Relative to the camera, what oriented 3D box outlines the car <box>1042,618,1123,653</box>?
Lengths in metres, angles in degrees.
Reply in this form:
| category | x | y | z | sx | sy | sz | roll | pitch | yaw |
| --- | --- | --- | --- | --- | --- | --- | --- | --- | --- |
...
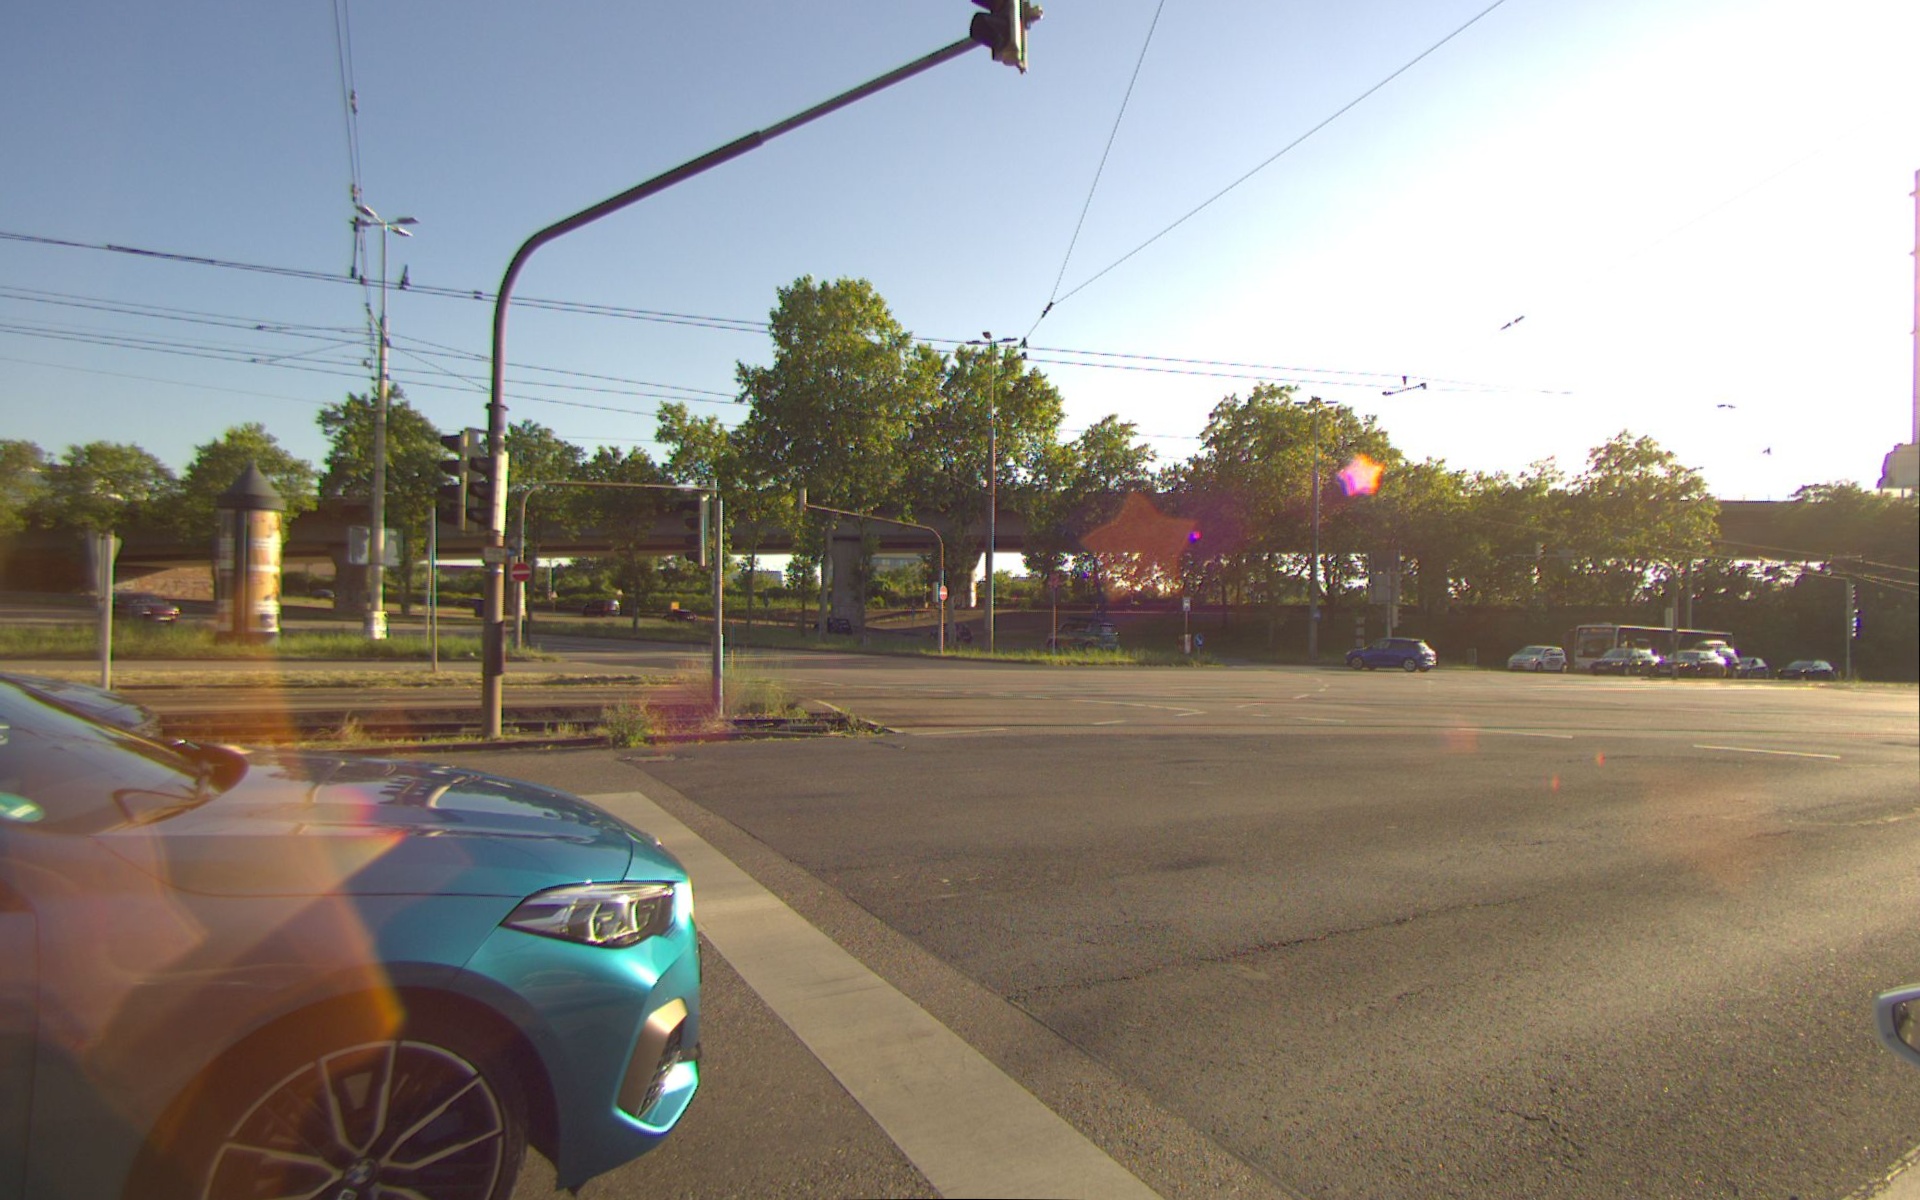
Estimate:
| category | x | y | z | sx | sy | sz | roll | pitch | yaw |
| --- | --- | --- | --- | --- | --- | --- | --- | --- | --- |
| car | 7.291 | 2.089 | 60.122 | 1.986 | 1.930 | 4.646 | 3 | -2 | -43 |

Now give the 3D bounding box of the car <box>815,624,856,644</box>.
| category | x | y | z | sx | sy | sz | roll | pitch | yaw |
| --- | --- | --- | --- | --- | --- | --- | --- | --- | --- |
| car | -9.979 | 2.702 | 80.370 | 1.680 | 1.441 | 3.696 | 2 | -1 | -36 |

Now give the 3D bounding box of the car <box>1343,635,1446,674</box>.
| category | x | y | z | sx | sy | sz | roll | pitch | yaw |
| --- | --- | --- | --- | --- | --- | --- | --- | --- | --- |
| car | 19.869 | 2.464 | 46.049 | 1.987 | 1.579 | 3.883 | 3 | -2 | -45 |

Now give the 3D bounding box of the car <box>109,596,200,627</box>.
| category | x | y | z | sx | sy | sz | roll | pitch | yaw |
| --- | --- | --- | --- | --- | --- | --- | --- | --- | --- |
| car | -42.002 | 0.592 | 52.365 | 3.922 | 1.505 | 2.000 | 1 | -1 | 22 |

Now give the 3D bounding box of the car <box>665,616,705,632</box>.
| category | x | y | z | sx | sy | sz | roll | pitch | yaw |
| --- | --- | --- | --- | --- | --- | --- | --- | --- | --- |
| car | -27.886 | 2.454 | 101.811 | 1.987 | 1.473 | 4.475 | 3 | -1 | -44 |

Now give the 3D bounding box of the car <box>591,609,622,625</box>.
| category | x | y | z | sx | sy | sz | roll | pitch | yaw |
| --- | --- | --- | --- | --- | --- | --- | --- | --- | --- |
| car | -40.859 | 1.957 | 116.125 | 1.984 | 1.644 | 4.482 | 3 | 0 | -39 |

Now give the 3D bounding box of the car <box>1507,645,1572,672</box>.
| category | x | y | z | sx | sy | sz | roll | pitch | yaw |
| --- | --- | --- | --- | --- | --- | --- | --- | --- | --- |
| car | 31.972 | 3.234 | 55.418 | 3.693 | 1.372 | 1.595 | 3 | -2 | -32 |

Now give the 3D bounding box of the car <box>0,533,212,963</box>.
| category | x | y | z | sx | sy | sz | roll | pitch | yaw |
| --- | --- | --- | --- | --- | --- | --- | --- | --- | --- |
| car | -5.837 | 0.523 | 3.833 | 4.550 | 1.703 | 1.905 | 2 | -1 | -32 |

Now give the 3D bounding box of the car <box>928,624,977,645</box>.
| category | x | y | z | sx | sy | sz | roll | pitch | yaw |
| --- | --- | --- | --- | --- | --- | --- | --- | --- | --- |
| car | -0.588 | 2.558 | 74.868 | 1.683 | 1.441 | 3.691 | 3 | -2 | -40 |

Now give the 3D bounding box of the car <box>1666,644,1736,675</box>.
| category | x | y | z | sx | sy | sz | roll | pitch | yaw |
| --- | --- | --- | --- | --- | --- | --- | --- | --- | --- |
| car | 41.657 | 3.348 | 56.435 | 4.046 | 1.674 | 1.703 | 2 | -1 | -30 |

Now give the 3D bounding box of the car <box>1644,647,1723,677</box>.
| category | x | y | z | sx | sy | sz | roll | pitch | yaw |
| --- | --- | --- | --- | --- | --- | --- | --- | --- | --- |
| car | 36.324 | 3.121 | 50.417 | 4.046 | 1.372 | 1.703 | 2 | -2 | -30 |

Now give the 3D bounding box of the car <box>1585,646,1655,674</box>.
| category | x | y | z | sx | sy | sz | roll | pitch | yaw |
| --- | --- | --- | --- | --- | --- | --- | --- | --- | --- |
| car | 34.639 | 3.150 | 52.695 | 3.956 | 1.372 | 1.595 | 3 | -2 | -32 |

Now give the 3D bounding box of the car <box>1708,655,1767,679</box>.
| category | x | y | z | sx | sy | sz | roll | pitch | yaw |
| --- | --- | --- | --- | --- | --- | --- | --- | --- | --- |
| car | 51.396 | 4.413 | 66.374 | 3.953 | 1.461 | 1.692 | 2 | -1 | -30 |

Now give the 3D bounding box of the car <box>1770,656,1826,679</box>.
| category | x | y | z | sx | sy | sz | roll | pitch | yaw |
| --- | --- | --- | --- | --- | --- | --- | --- | --- | --- |
| car | 57.588 | 4.660 | 68.994 | 3.953 | 1.461 | 1.692 | 2 | -1 | -30 |

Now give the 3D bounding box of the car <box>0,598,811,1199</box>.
| category | x | y | z | sx | sy | sz | roll | pitch | yaw |
| --- | --- | --- | --- | --- | --- | --- | --- | --- | --- |
| car | -2.716 | 0.692 | 1.943 | 4.465 | 1.436 | 1.774 | 3 | -2 | -33 |

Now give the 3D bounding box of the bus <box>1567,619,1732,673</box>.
| category | x | y | z | sx | sy | sz | roll | pitch | yaw |
| --- | --- | --- | --- | --- | --- | --- | --- | --- | --- |
| bus | 42.178 | 2.841 | 61.245 | 12.694 | 2.993 | 2.811 | 2 | -1 | -28 |
